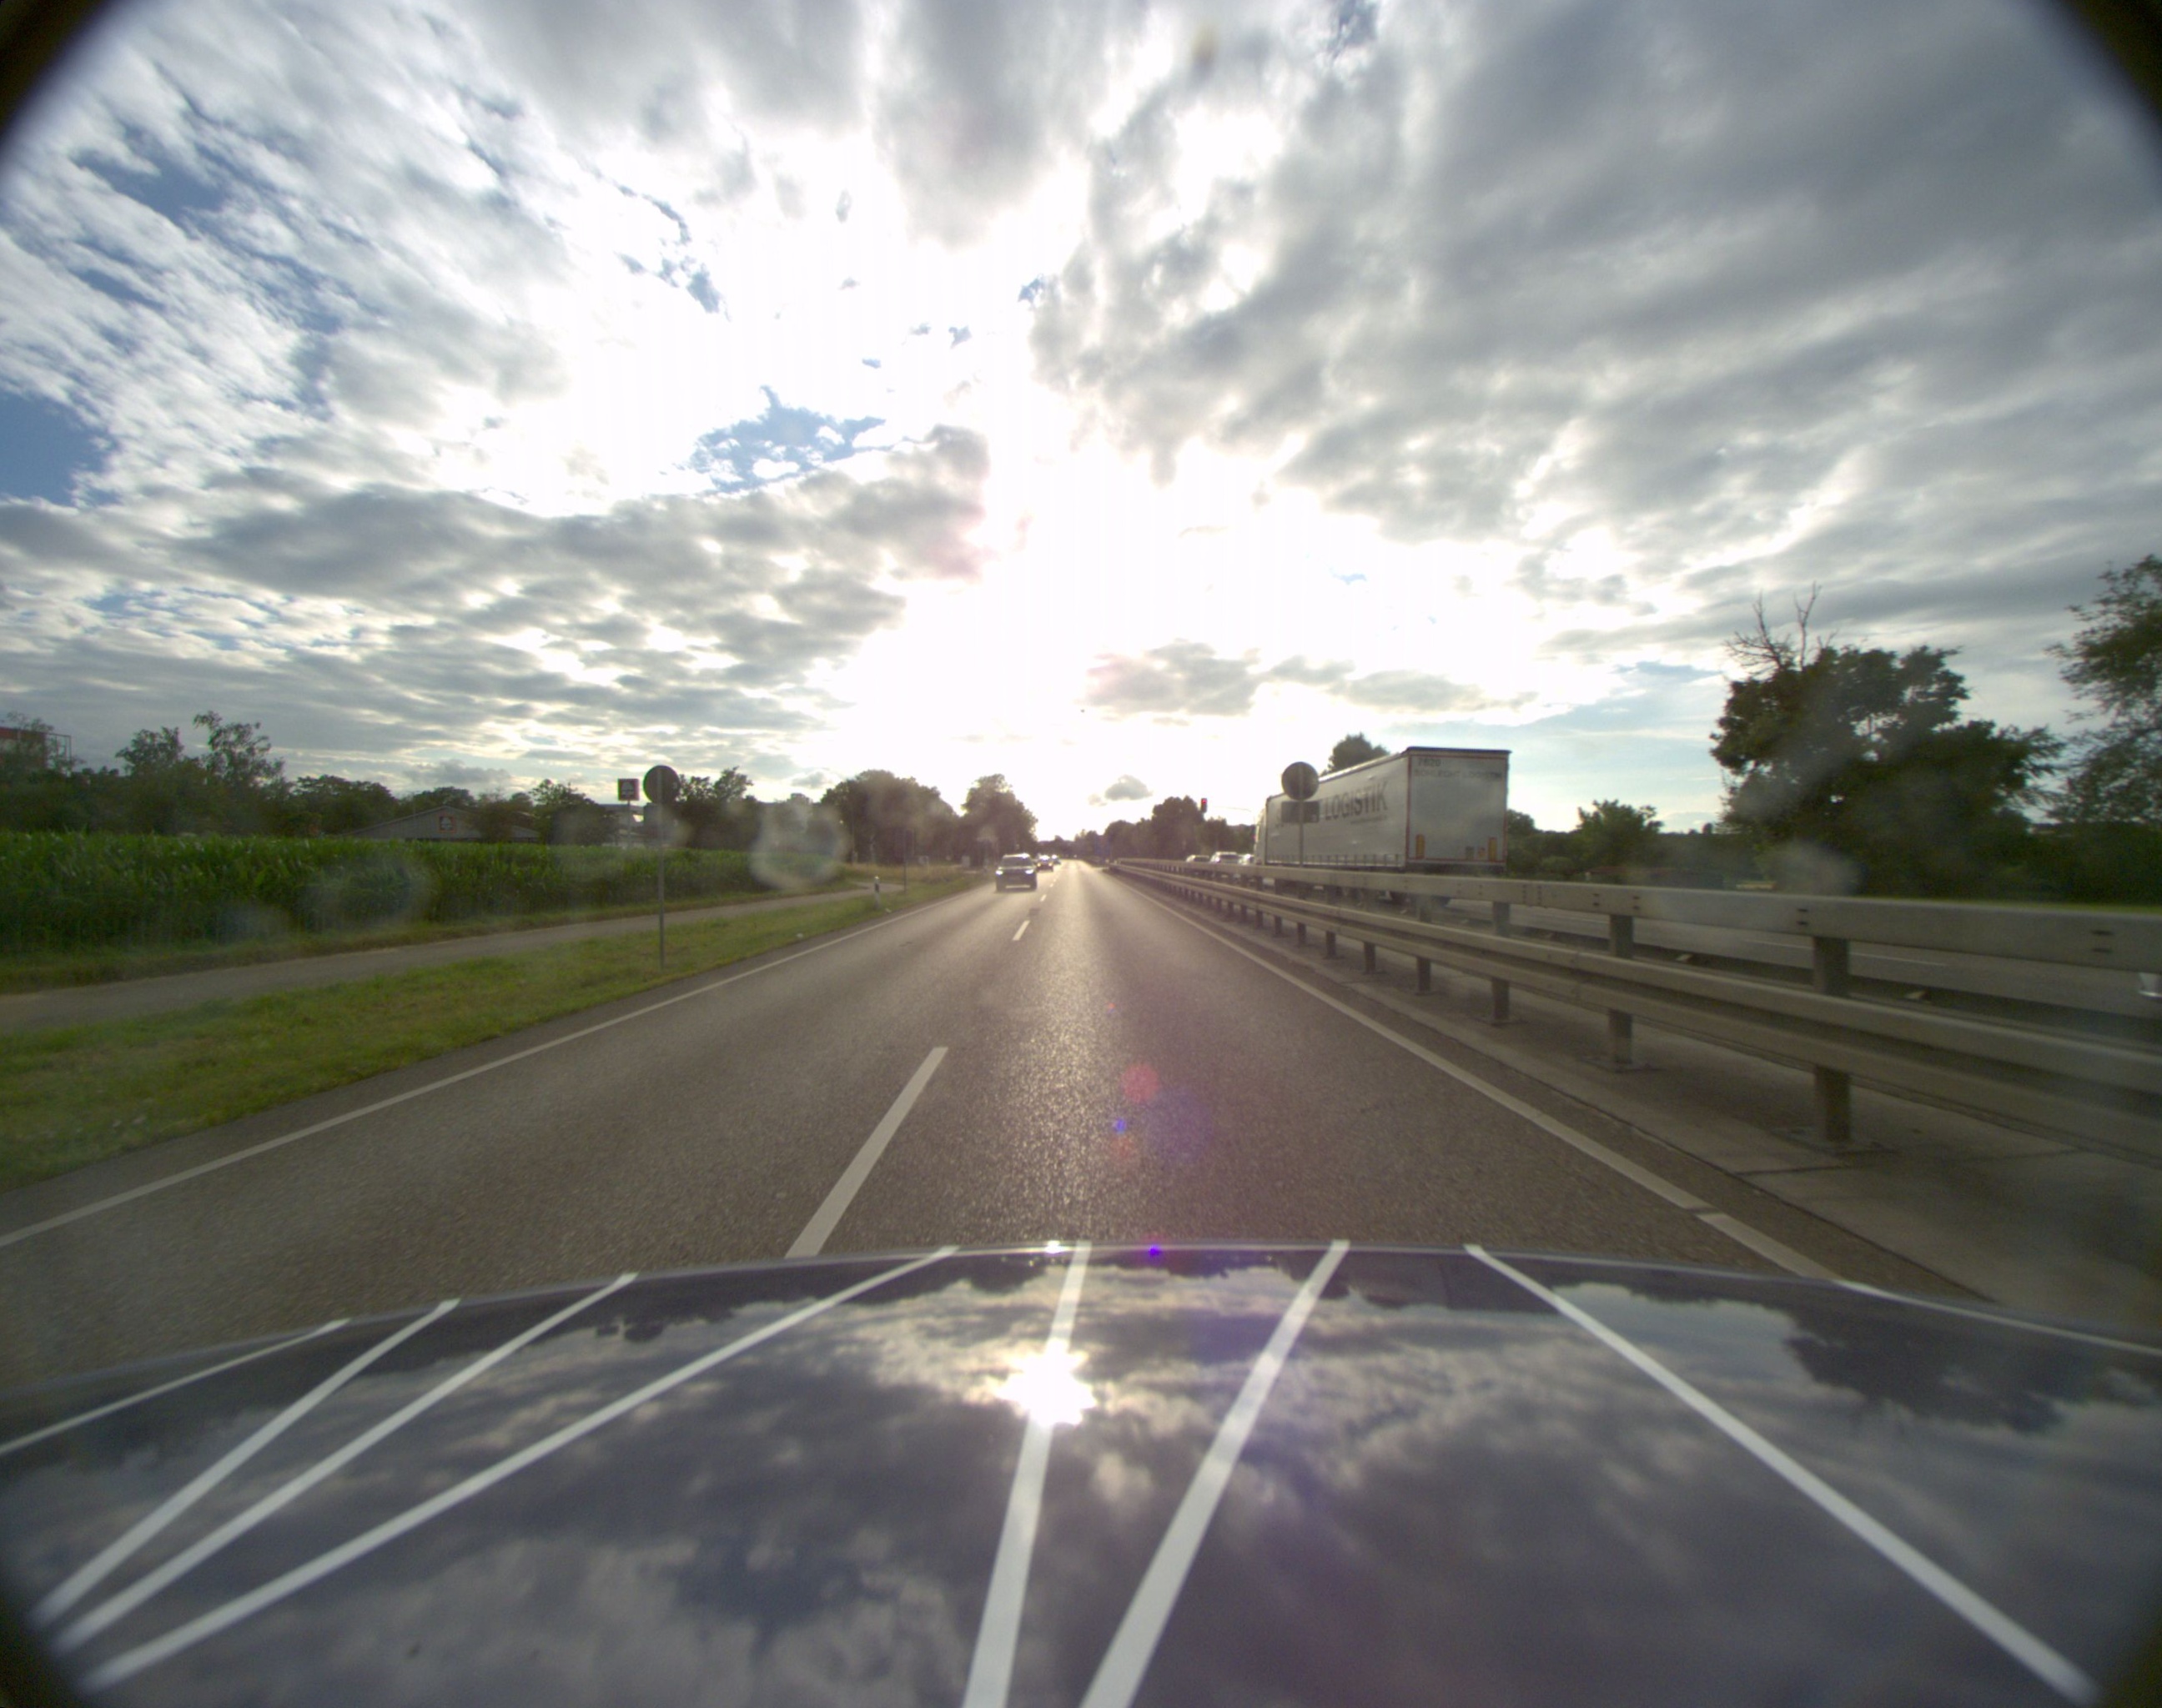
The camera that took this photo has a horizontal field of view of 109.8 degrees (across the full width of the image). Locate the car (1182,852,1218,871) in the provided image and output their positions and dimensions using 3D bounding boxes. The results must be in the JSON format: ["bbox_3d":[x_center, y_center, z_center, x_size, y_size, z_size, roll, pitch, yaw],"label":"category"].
[{"bbox_3d":[9.094,0.528,58.678,1.912,1.420,5.151,0,0,-1],"label":"car"}]

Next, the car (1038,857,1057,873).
[{"bbox_3d":[-3.325,1.077,76.491,1.667,1.424,3.994,-2,0,1],"label":"car"}]

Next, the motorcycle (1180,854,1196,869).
[{"bbox_3d":[8.994,0.623,63.896,0.918,1.196,2.478,0,1,0],"label":"motorcycle"}]

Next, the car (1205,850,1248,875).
[{"bbox_3d":[9.365,0.518,49.278,1.912,1.600,4.404,0,0,-1],"label":"car"}]

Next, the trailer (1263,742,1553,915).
[{"bbox_3d":[9.544,-0.657,25.286,3.474,4.126,13.913,1,0,-1],"label":"trailer"}]

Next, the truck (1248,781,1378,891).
[{"bbox_3d":[9.475,-0.710,31.925,3.483,4.126,6.048,1,1,-1],"label":"truck"}]

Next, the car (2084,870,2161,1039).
[{"bbox_3d":[9.834,0.841,4.677,1.793,1.378,4.159,0,0,-1],"label":"car"}]

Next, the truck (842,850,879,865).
[{"bbox_3d":[-32.022,0.476,110.289,4.678,1.985,1.819,-2,1,-36],"label":"truck"}]

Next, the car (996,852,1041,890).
[{"bbox_3d":[-2.996,0.775,37.332,1.849,1.640,4.480,-3,0,-1],"label":"car"}]

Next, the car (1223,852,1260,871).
[{"bbox_3d":[12.832,0.570,61.136,1.912,1.526,4.938,0,0,-1],"label":"car"}]

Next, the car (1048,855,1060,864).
[{"bbox_3d":[-4.511,0.926,127.129,1.999,1.486,3.999,0,0,-1],"label":"car"}]

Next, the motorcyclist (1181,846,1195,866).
[{"bbox_3d":[8.987,0.171,63.888,0.918,1.699,1.275,0,1,0],"label":"motorcyclist"}]

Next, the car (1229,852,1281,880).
[{"bbox_3d":[9.332,0.615,40.999,1.793,1.436,4.159,0,0,-1],"label":"car"}]
